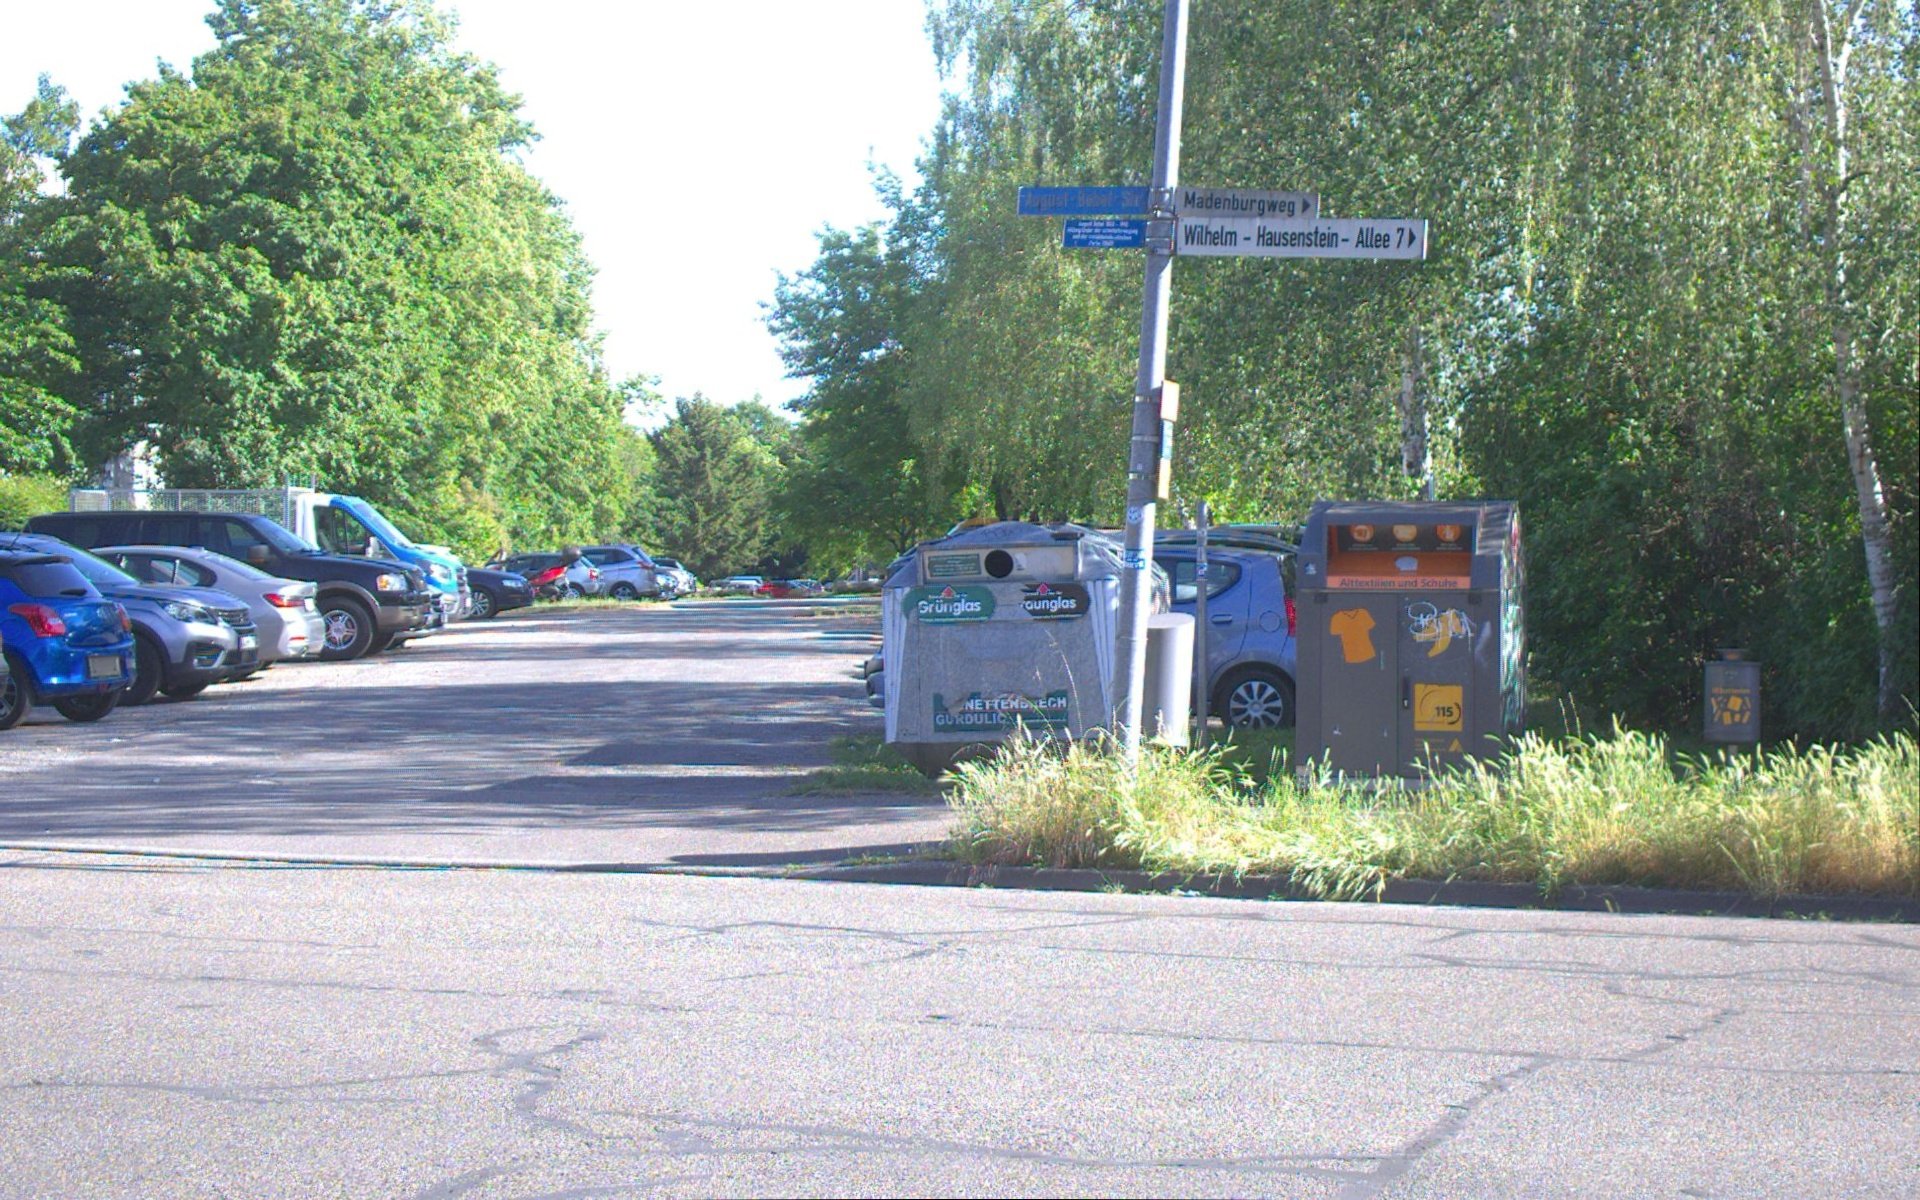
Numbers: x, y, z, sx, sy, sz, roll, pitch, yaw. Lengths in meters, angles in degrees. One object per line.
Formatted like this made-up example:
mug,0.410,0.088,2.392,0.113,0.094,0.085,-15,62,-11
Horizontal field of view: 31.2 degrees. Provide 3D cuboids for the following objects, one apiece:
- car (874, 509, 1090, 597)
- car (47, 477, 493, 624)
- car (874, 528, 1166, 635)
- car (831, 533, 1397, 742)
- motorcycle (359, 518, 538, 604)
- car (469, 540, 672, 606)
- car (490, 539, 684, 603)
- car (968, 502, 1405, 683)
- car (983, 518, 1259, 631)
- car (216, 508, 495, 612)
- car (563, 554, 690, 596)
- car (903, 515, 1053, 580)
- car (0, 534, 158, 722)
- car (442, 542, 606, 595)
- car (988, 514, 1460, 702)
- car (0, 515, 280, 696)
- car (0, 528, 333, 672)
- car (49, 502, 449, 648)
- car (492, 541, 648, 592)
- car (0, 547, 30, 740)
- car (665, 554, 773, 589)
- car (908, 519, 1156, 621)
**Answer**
car,0.444,-0.889,64.981,3.987,1.580,1.797,1,0,3
car,-10.251,-0.739,51.520,6.255,2.139,2.411,0,1,-2
car,0.865,-0.264,48.218,3.987,1.396,1.797,1,0,3
car,1.200,0.256,26.183,4.055,1.434,1.634,1,1,13
motorcycle,-9.513,-0.731,64.067,3.191,1.590,0.923,0,1,1
car,-7.896,-0.559,69.900,3.939,1.329,1.847,0,1,-1
car,-7.894,-0.624,73.010,3.939,1.329,1.847,0,1,-1
car,2.235,-0.094,34.626,4.103,1.700,1.791,1,2,-7
car,2.376,-0.379,50.782,3.987,1.580,1.797,1,0,3
car,-10.489,-0.700,59.884,4.522,1.765,1.847,0,1,1
car,-10.714,-0.812,110.563,3.939,1.329,1.847,0,1,-1
car,0.499,-1.419,93.538,3.987,1.702,1.797,1,0,3
car,-8.773,0.223,28.697,3.682,1.491,1.650,0,1,13
car,-11.030,-0.804,87.117,3.939,1.329,1.847,0,1,-1
car,2.383,0.057,31.688,4.052,1.597,1.791,1,2,-6
car,-9.171,0.048,32.690,4.993,1.649,1.784,-1,1,5
car,-8.893,-0.003,36.676,4.143,1.450,1.619,-1,1,-3
car,-8.789,-0.325,42.712,4.523,1.765,1.847,0,1,5
car,-10.248,-0.887,90.496,3.939,1.329,1.847,0,1,-1
car,-9.098,0.323,26.194,3.525,1.461,1.702,1,2,16
car,-8.376,-0.998,119.593,3.644,1.208,1.847,0,1,-1
car,1.208,-0.495,56.544,3.987,1.580,1.797,1,0,3
